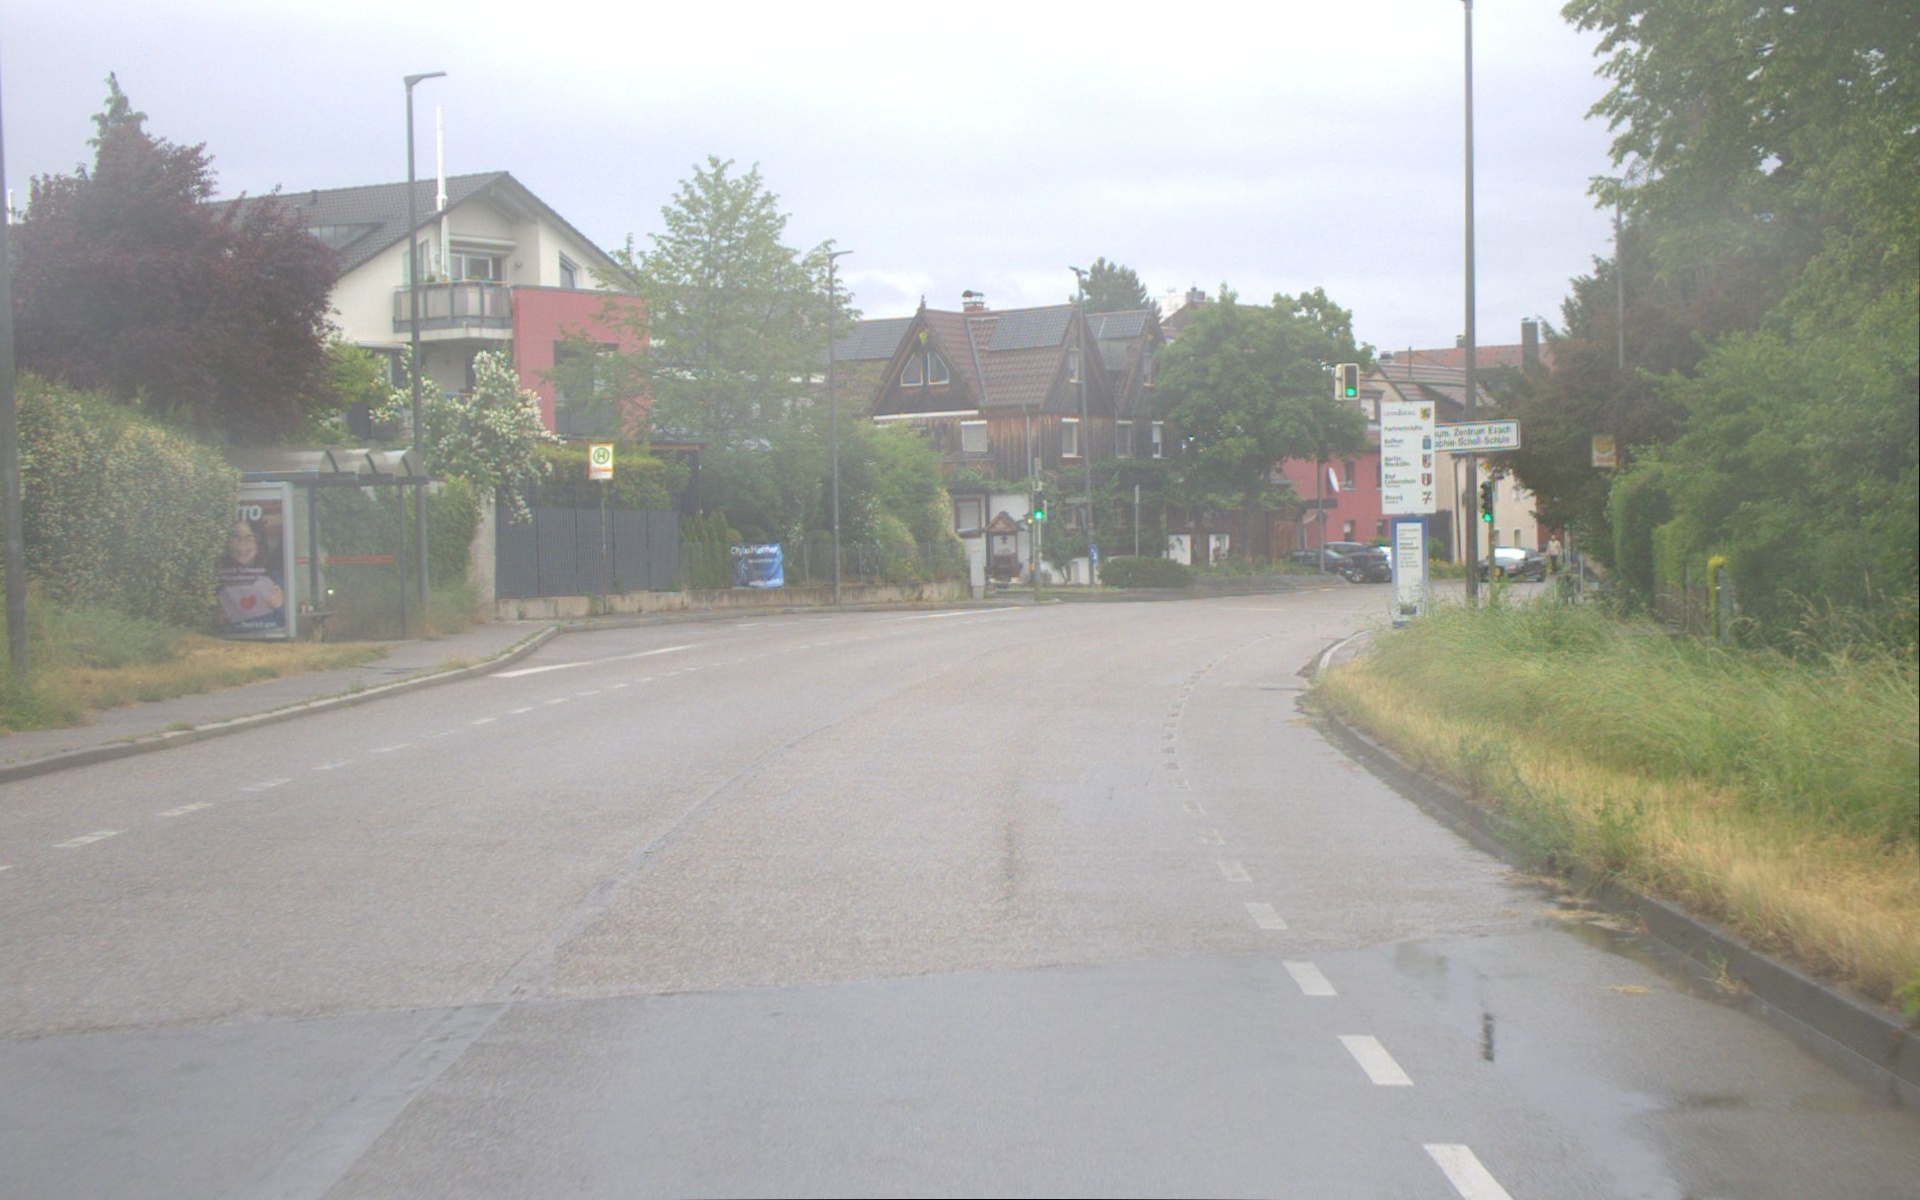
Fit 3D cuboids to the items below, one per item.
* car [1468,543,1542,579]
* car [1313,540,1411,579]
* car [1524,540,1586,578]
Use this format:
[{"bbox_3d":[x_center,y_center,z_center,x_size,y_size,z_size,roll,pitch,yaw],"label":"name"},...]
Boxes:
[{"bbox_3d":[21.821,-1.567,137.506,1.629,1.351,4.104,2,2,29],"label":"car"},{"bbox_3d":[15.838,-1.606,135.337,3.467,1.474,1.588,-1,1,32],"label":"car"},{"bbox_3d":[25.885,-1.794,149.500,1.608,1.612,3.271,-1,1,30],"label":"car"}]
